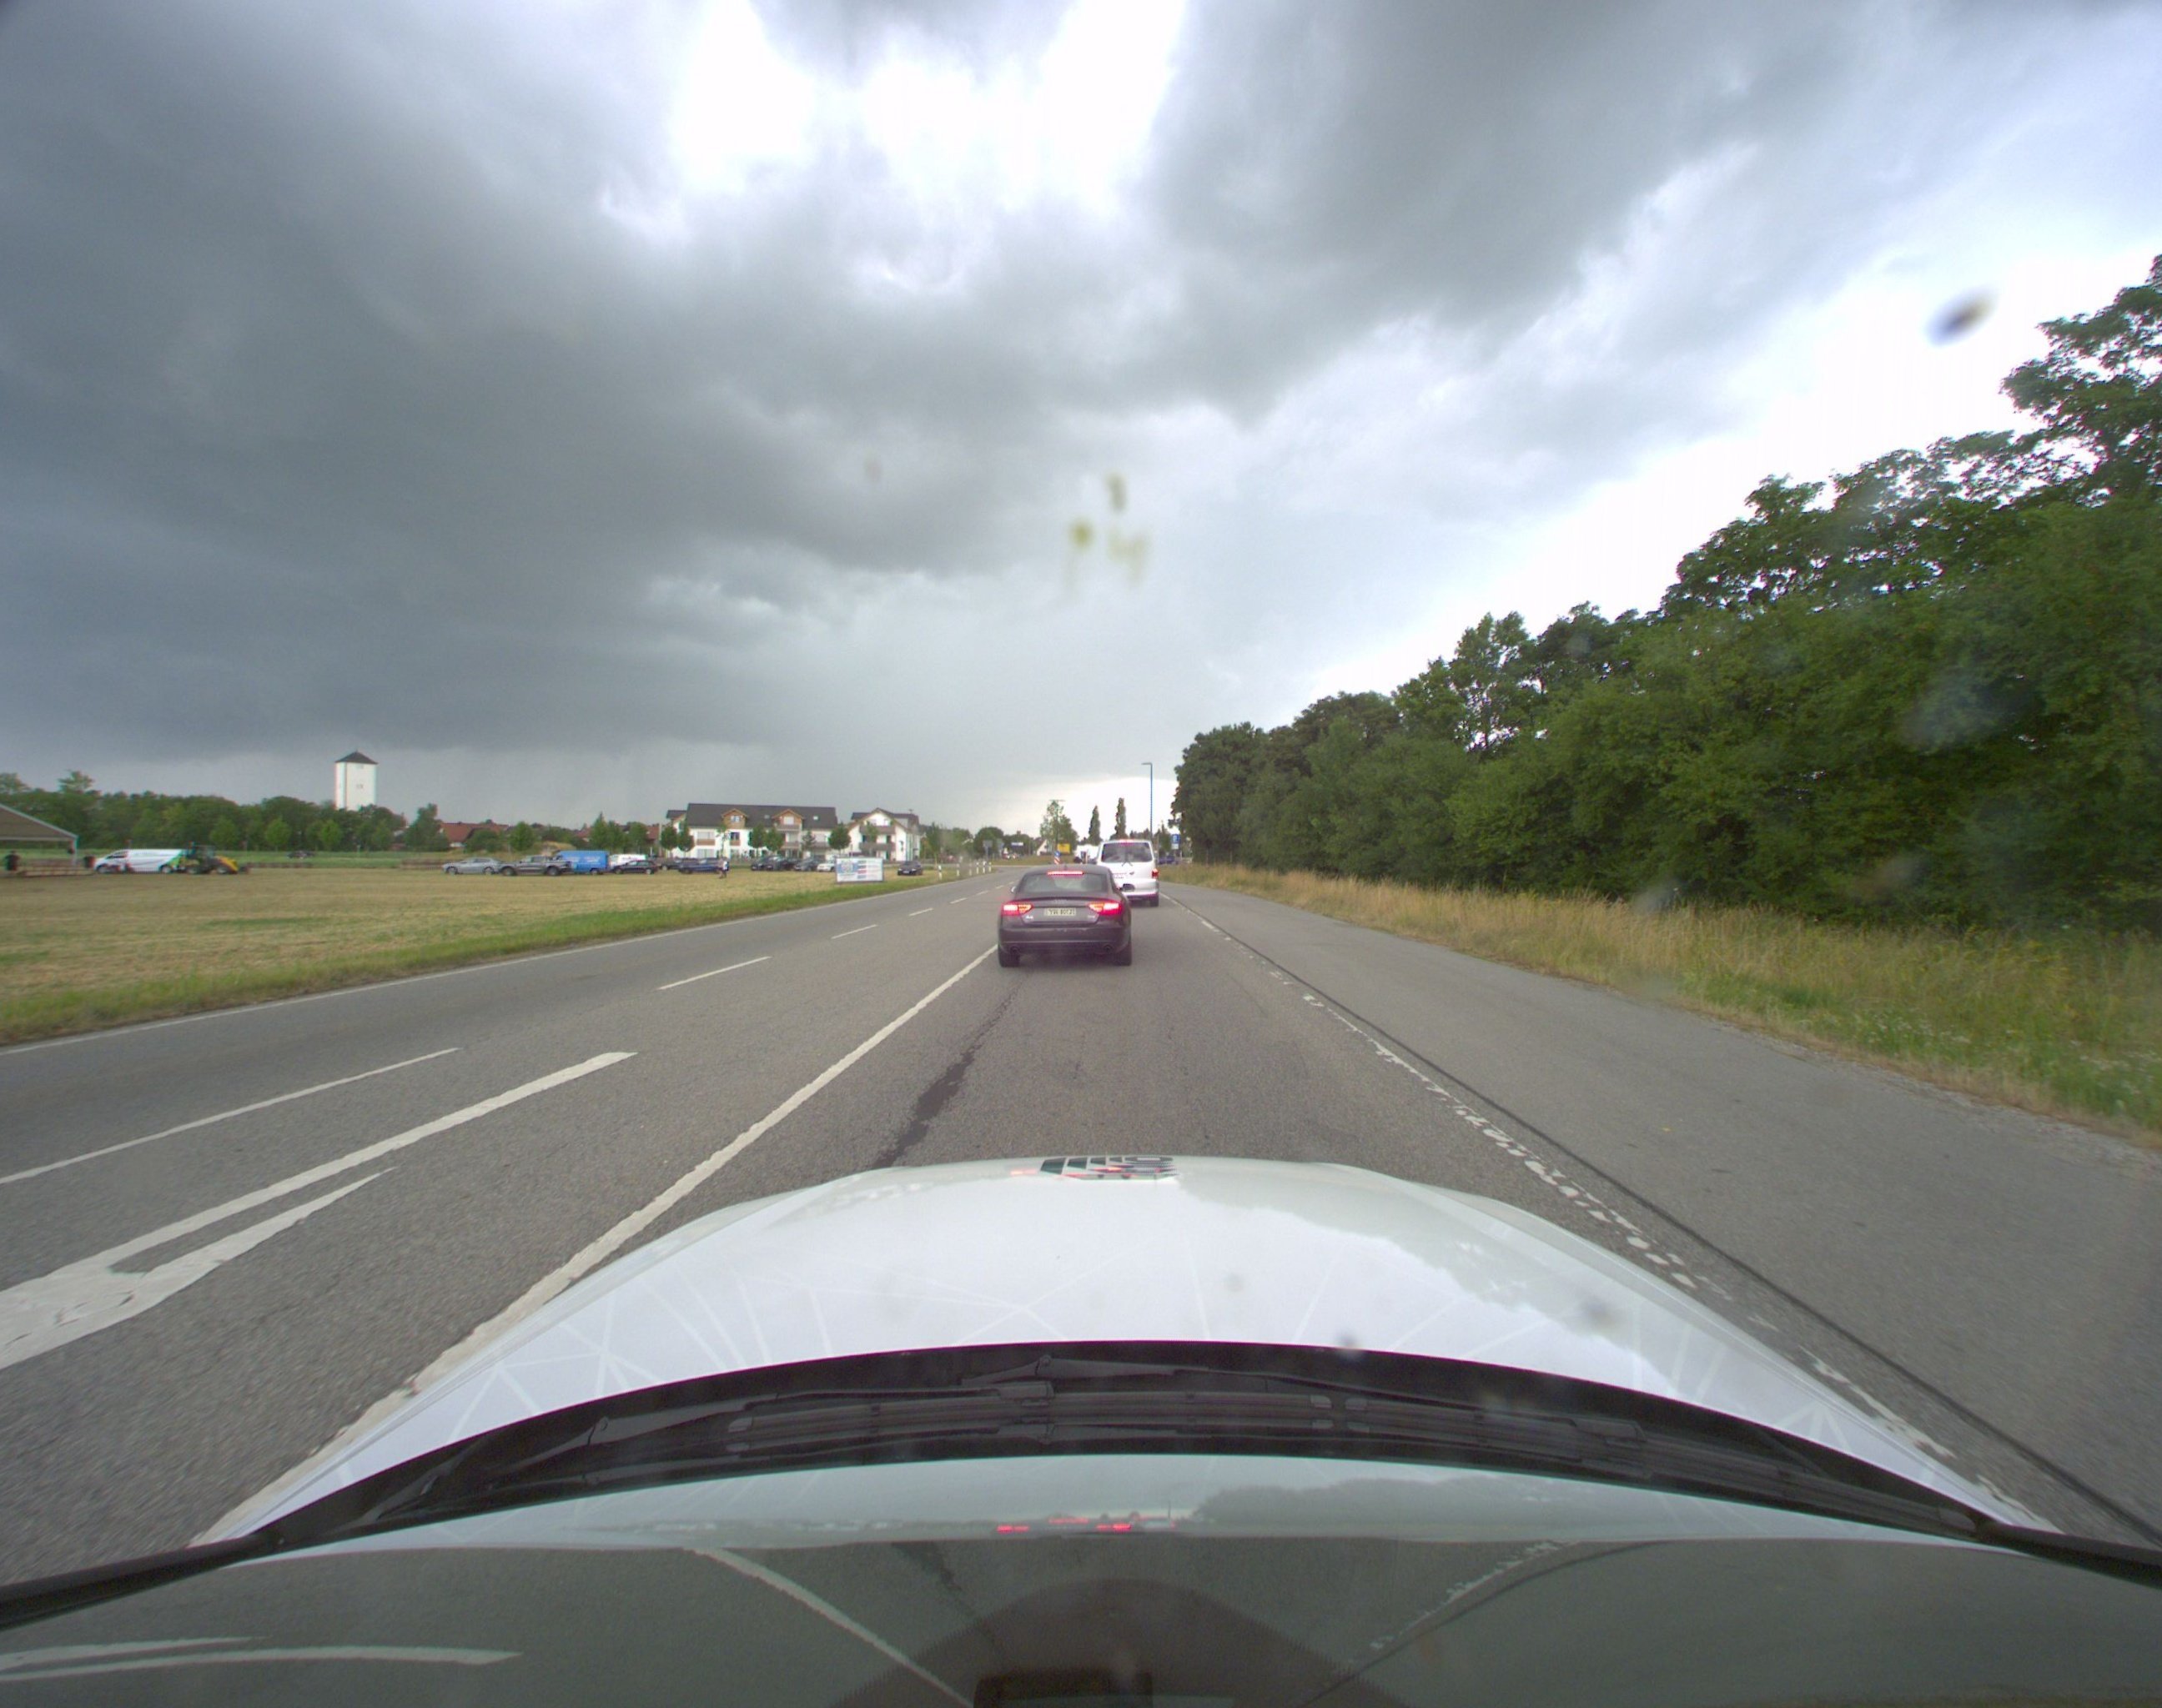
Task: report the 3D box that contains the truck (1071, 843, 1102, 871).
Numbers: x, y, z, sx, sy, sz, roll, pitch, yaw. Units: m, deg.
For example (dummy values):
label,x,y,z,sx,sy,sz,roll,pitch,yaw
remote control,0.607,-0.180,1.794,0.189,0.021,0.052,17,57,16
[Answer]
label,x,y,z,sx,sy,sz,roll,pitch,yaw
truck,0.518,0.321,82.221,2.621,2.737,5.858,1,0,-4

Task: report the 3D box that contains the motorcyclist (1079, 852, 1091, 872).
label,x,y,z,sx,sy,sz,roll,pitch,yaw
motorcyclist,0.266,0.540,57.287,0.768,1.383,0.821,0,0,4

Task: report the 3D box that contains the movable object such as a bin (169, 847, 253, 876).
label,x,y,z,sx,sy,sz,roll,pitch,yaw
movable object such as a bin,-67.992,0.580,63.728,4.005,2.243,1.870,0,-1,-26

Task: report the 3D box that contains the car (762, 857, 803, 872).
label,x,y,z,sx,sy,sz,roll,pitch,yaw
car,-32.697,1.122,89.329,1.976,1.629,4.233,0,0,21

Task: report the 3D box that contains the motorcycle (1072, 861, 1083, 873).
label,x,y,z,sx,sy,sz,roll,pitch,yaw
motorcycle,-0.301,1.149,70.979,0.941,1.019,2.284,0,0,1

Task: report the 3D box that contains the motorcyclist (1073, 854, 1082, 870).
label,x,y,z,sx,sy,sz,roll,pitch,yaw
motorcyclist,-0.322,0.675,71.007,0.783,1.356,0.854,0,0,1

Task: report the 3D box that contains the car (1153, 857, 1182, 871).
label,x,y,z,sx,sy,sz,roll,pitch,yaw
car,13.336,1.564,124.994,3.952,2.014,2.011,0,0,22

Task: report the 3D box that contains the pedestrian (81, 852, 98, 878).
label,x,y,z,sx,sy,sz,roll,pitch,yaw
pedestrian,-70.965,0.759,58.282,0.713,1.866,0.618,1,-1,-45

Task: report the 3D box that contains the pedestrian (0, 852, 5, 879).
label,x,y,z,sx,sy,sz,roll,pitch,yaw
pedestrian,-71.212,0.752,53.279,0.685,1.776,0.696,0,-1,6

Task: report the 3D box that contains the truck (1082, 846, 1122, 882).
label,x,y,z,sx,sy,sz,roll,pitch,yaw
truck,1.292,0.560,47.752,2.185,2.014,5.088,0,0,3

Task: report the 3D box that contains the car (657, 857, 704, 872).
label,x,y,z,sx,sy,sz,roll,pitch,yaw
car,-45.922,1.185,93.449,4.638,1.697,1.988,0,0,-18

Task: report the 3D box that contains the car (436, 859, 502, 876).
label,x,y,z,sx,sy,sz,roll,pitch,yaw
car,-54.334,1.198,72.374,4.314,1.461,1.876,0,0,-24

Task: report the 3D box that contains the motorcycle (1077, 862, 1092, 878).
label,x,y,z,sx,sy,sz,roll,pitch,yaw
motorcycle,0.275,1.100,57.409,0.916,1.094,2.191,0,0,4

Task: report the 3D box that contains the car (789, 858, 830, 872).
label,x,y,z,sx,sy,sz,roll,pitch,yaw
car,-29.570,1.195,88.764,1.976,1.536,4.233,0,0,21

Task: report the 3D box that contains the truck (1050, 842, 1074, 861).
label,x,y,z,sx,sy,sz,roll,pitch,yaw
truck,-3.762,-0.472,155.708,3.573,3.578,9.932,1,0,-7

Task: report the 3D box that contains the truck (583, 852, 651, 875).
label,x,y,z,sx,sy,sz,roll,pitch,yaw
truck,-46.940,0.937,82.599,5.584,2.196,2.589,0,0,-21

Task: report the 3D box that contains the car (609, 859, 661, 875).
label,x,y,z,sx,sy,sz,roll,pitch,yaw
car,-43.563,1.264,79.642,4.166,1.519,1.988,0,0,-18

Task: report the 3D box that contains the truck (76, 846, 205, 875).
label,x,y,z,sx,sy,sz,roll,pitch,yaw
truck,-74.491,0.528,64.699,6.073,2.217,2.698,0,0,-25

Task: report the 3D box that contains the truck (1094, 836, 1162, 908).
label,x,y,z,sx,sy,sz,roll,pitch,yaw
truck,1.415,0.497,25.007,1.896,1.998,4.632,0,0,3

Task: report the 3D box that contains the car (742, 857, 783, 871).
label,x,y,z,sx,sy,sz,roll,pitch,yaw
car,-35.816,1.110,91.768,1.976,1.629,4.233,0,0,21

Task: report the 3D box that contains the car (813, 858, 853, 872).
label,x,y,z,sx,sy,sz,roll,pitch,yaw
car,-26.836,1.168,88.256,1.976,1.446,4.233,0,0,21

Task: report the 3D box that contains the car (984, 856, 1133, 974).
label,x,y,z,sx,sy,sz,roll,pitch,yaw
car,-0.163,0.779,12.329,1.867,1.454,4.181,-1,0,3

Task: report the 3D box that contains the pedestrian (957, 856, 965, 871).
label,x,y,z,sx,sy,sz,roll,pitch,yaw
pedestrian,-13.515,1.072,91.530,0.695,1.586,0.661,0,-1,19

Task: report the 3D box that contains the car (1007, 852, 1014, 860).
label,x,y,z,sx,sy,sz,roll,pitch,yaw
car,-19.631,0.564,226.570,1.990,2.014,3.993,1,0,-5

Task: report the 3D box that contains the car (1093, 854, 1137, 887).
label,x,y,z,sx,sy,sz,roll,pitch,yaw
car,1.615,0.763,38.655,1.986,1.485,4.002,0,0,2

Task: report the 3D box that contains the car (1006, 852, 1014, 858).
label,x,y,z,sx,sy,sz,roll,pitch,yaw
car,-20.542,0.408,234.691,1.988,1.642,3.997,1,0,-2

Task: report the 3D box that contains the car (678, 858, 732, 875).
label,x,y,z,sx,sy,sz,roll,pitch,yaw
car,-37.689,1.219,81.761,4.728,1.697,1.988,0,0,-18

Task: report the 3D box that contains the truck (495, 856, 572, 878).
label,x,y,z,sx,sy,sz,roll,pitch,yaw
truck,-47.520,1.118,70.880,5.250,1.920,2.095,0,0,-24

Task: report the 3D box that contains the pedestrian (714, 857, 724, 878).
label,x,y,z,sx,sy,sz,roll,pitch,yaw
pedestrian,-30.782,1.171,69.246,0.548,1.786,0.676,0,-1,-9

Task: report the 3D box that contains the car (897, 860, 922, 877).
label,x,y,z,sx,sy,sz,roll,pitch,yaw
car,-15.791,1.280,75.061,1.992,1.442,3.989,0,1,-8

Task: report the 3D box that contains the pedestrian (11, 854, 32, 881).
label,x,y,z,sx,sy,sz,roll,pitch,yaw
pedestrian,-68.918,0.880,52.961,0.686,1.776,0.694,0,-1,26

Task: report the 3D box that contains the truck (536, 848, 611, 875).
label,x,y,z,sx,sy,sz,roll,pitch,yaw
truck,-46.633,0.705,75.024,5.467,2.446,2.377,0,0,-21

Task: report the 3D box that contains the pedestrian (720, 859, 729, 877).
label,x,y,z,sx,sy,sz,roll,pitch,yaw
pedestrian,-30.694,1.194,70.089,0.591,1.555,0.622,0,-1,-17
